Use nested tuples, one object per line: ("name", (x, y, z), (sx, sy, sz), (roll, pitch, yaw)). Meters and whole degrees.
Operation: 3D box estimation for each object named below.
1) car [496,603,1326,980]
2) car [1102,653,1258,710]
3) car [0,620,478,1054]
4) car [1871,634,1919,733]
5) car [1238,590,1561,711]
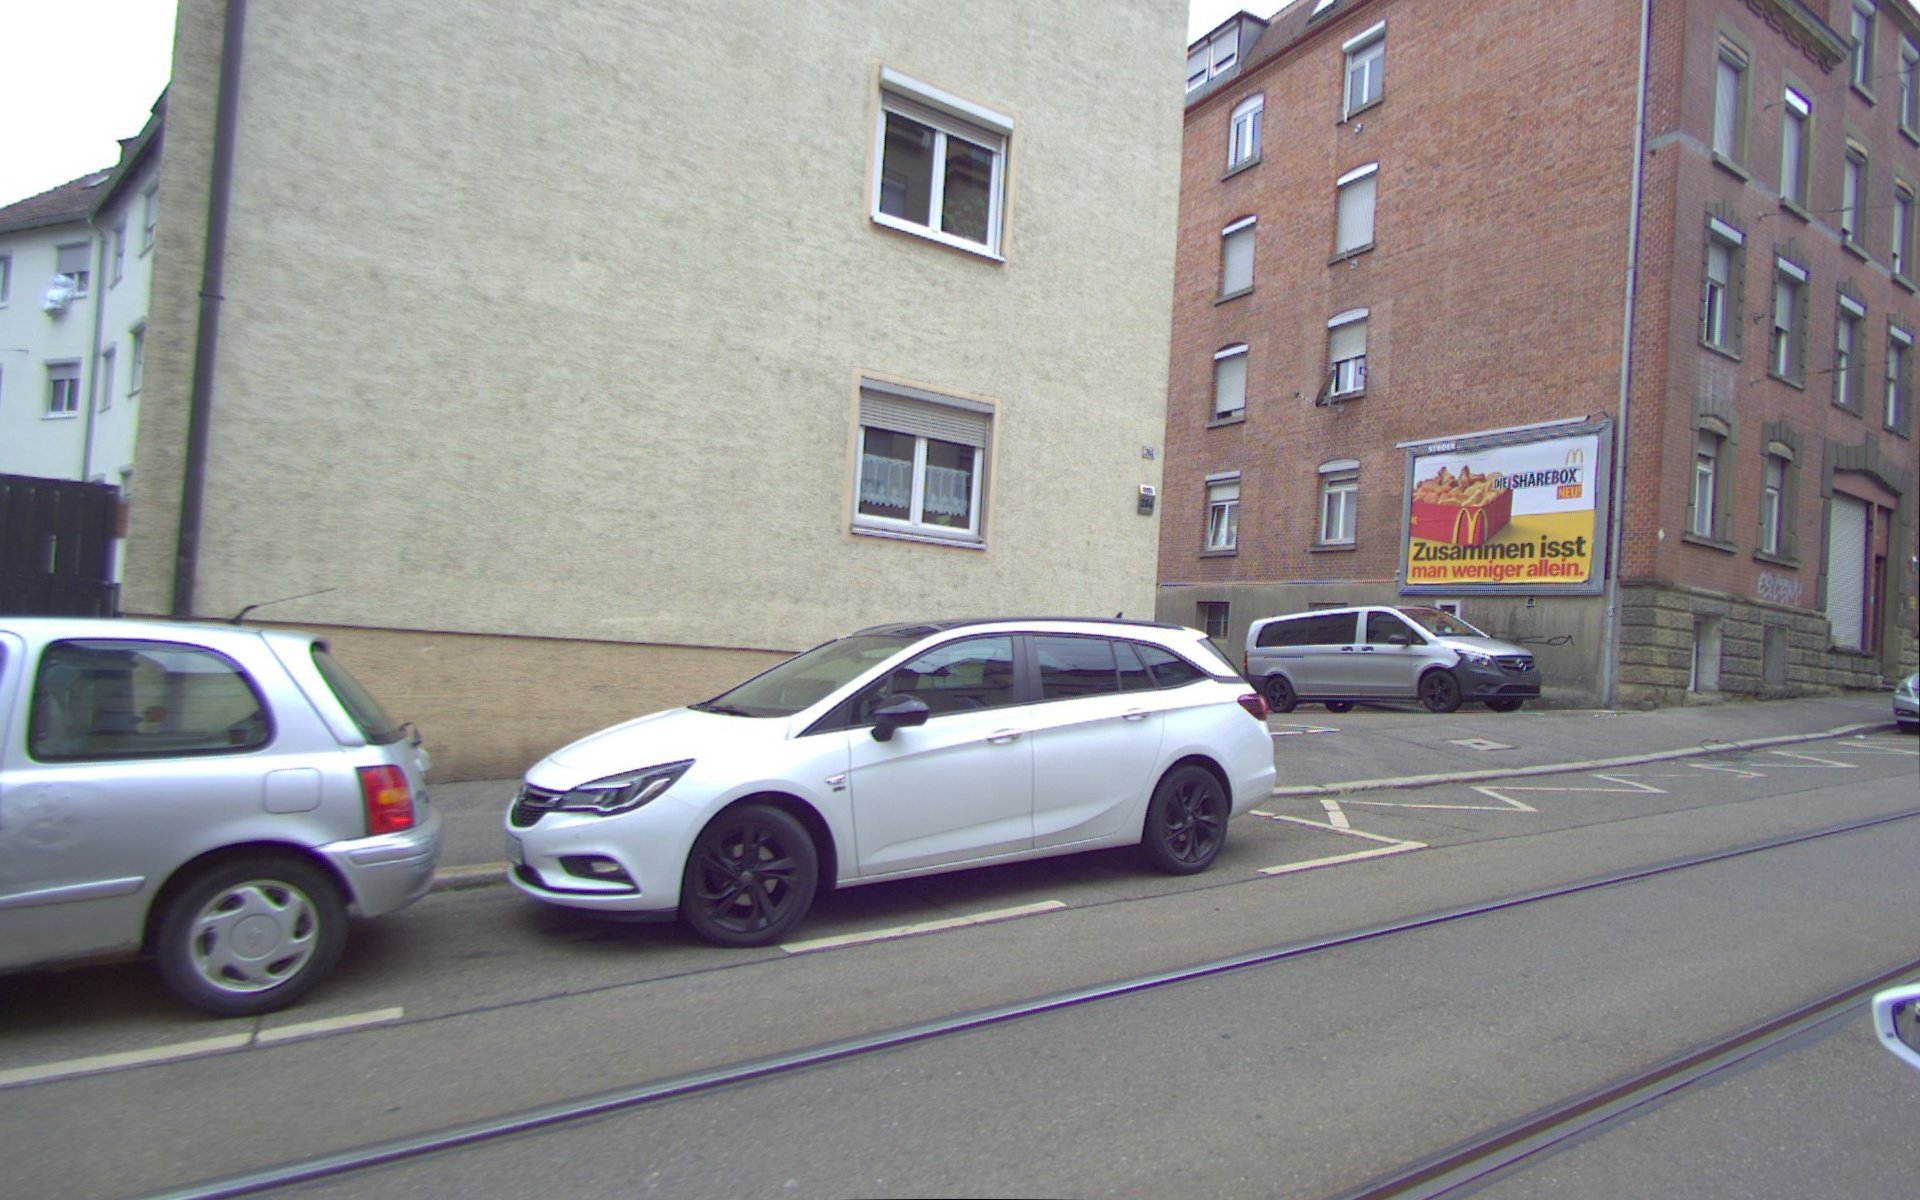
("car", (-0.103, 0.831, 5.900), (4.577, 1.447, 1.818), (1, -4, -33))
("car", (4.864, 1.881, 22.684), (1.491, 1.160, 3.597), (2, -6, -26))
("car", (-3.903, 0.799, 3.694), (3.761, 1.386, 1.594), (1, -4, -30))
("car", (16.287, 1.254, 15.562), (4.781, 1.448, 1.819), (1, -2, -30))
("car", (7.585, 1.029, 18.026), (1.917, 1.841, 5.155), (1, -6, -29))
